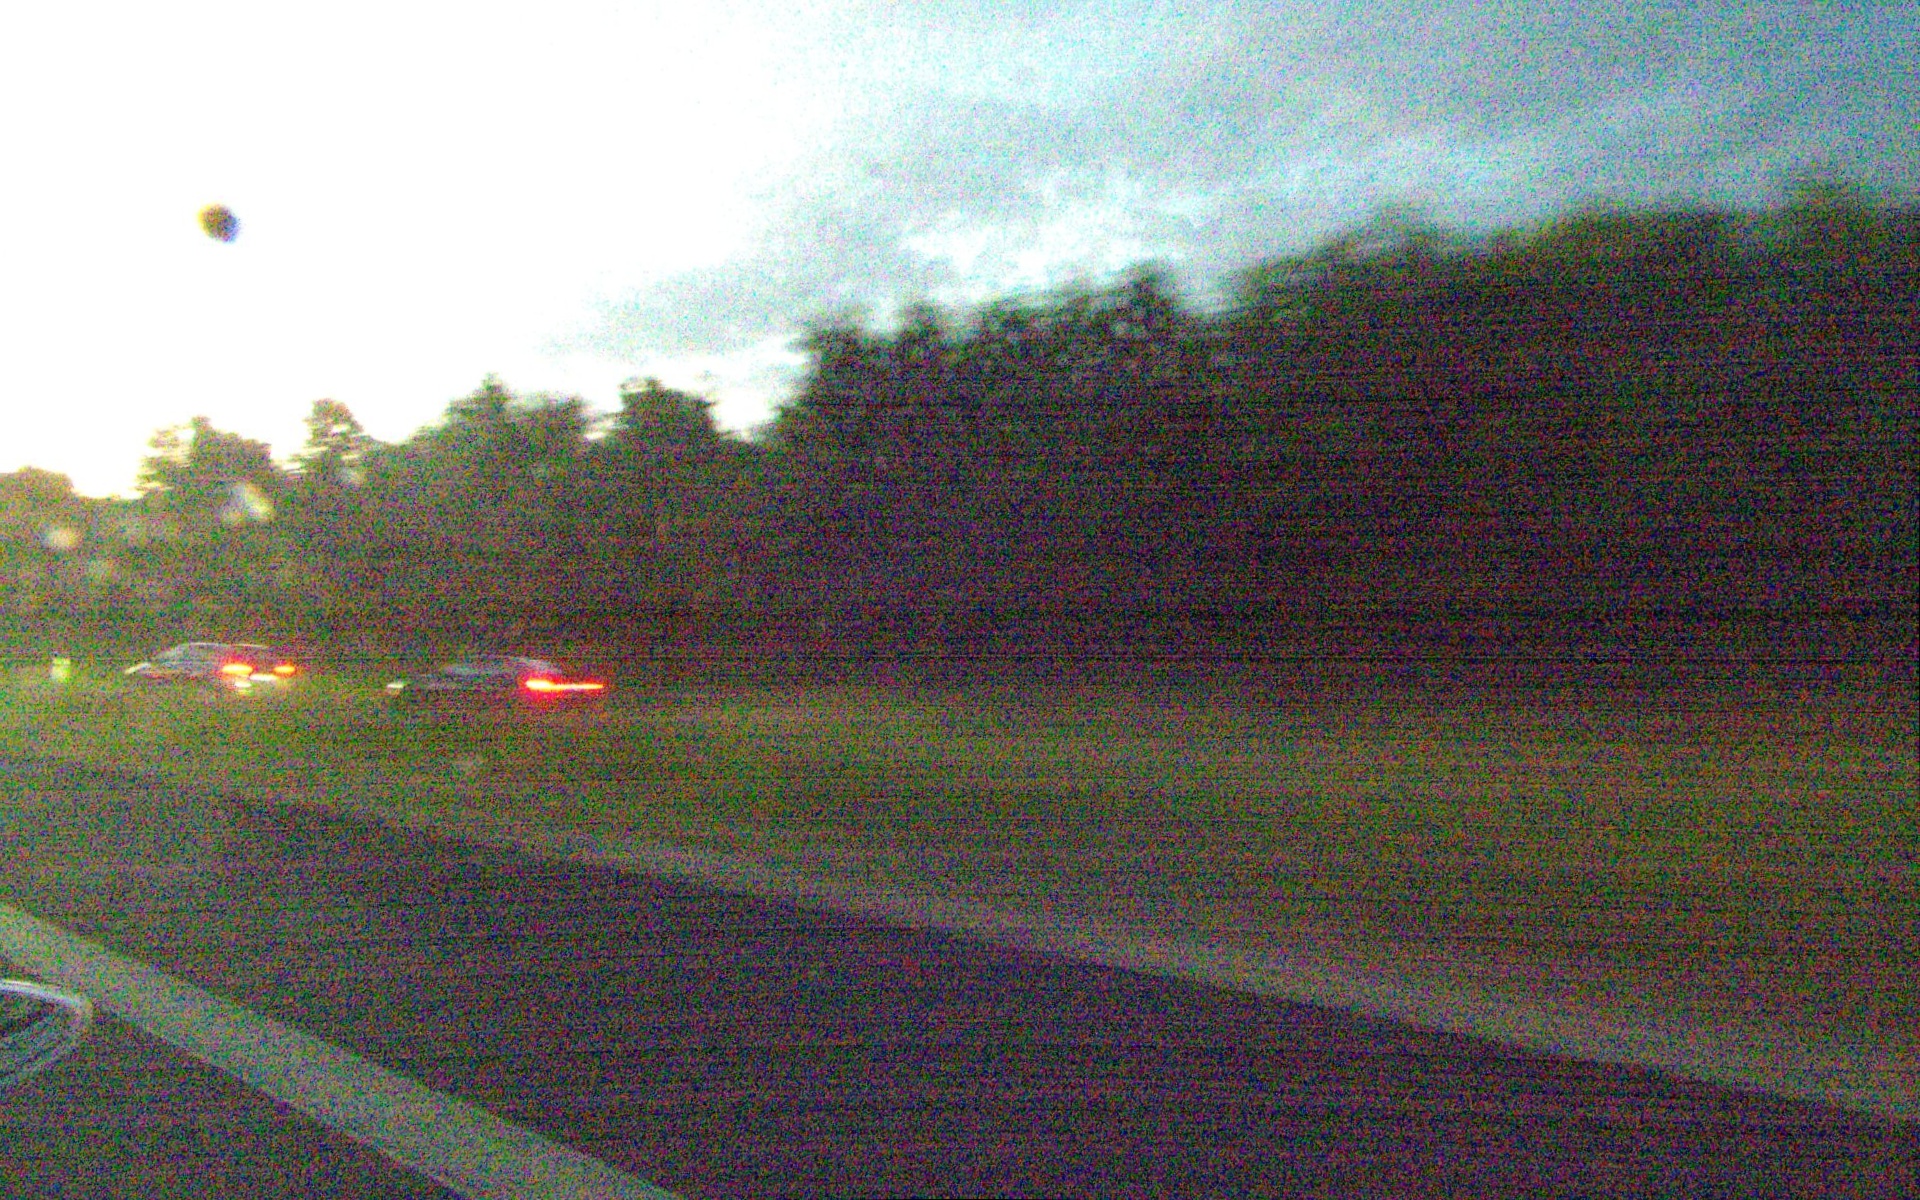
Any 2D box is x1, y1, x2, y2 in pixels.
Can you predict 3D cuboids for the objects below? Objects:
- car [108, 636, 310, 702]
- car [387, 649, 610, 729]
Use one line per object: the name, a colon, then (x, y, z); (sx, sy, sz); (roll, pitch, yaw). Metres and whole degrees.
car: (-18.950, 1.727, 25.255); (5.032, 1.509, 1.801); (-1, -4, 24)
car: (-9.729, 1.833, 21.118); (4.362, 1.509, 1.801); (-1, -4, 24)
